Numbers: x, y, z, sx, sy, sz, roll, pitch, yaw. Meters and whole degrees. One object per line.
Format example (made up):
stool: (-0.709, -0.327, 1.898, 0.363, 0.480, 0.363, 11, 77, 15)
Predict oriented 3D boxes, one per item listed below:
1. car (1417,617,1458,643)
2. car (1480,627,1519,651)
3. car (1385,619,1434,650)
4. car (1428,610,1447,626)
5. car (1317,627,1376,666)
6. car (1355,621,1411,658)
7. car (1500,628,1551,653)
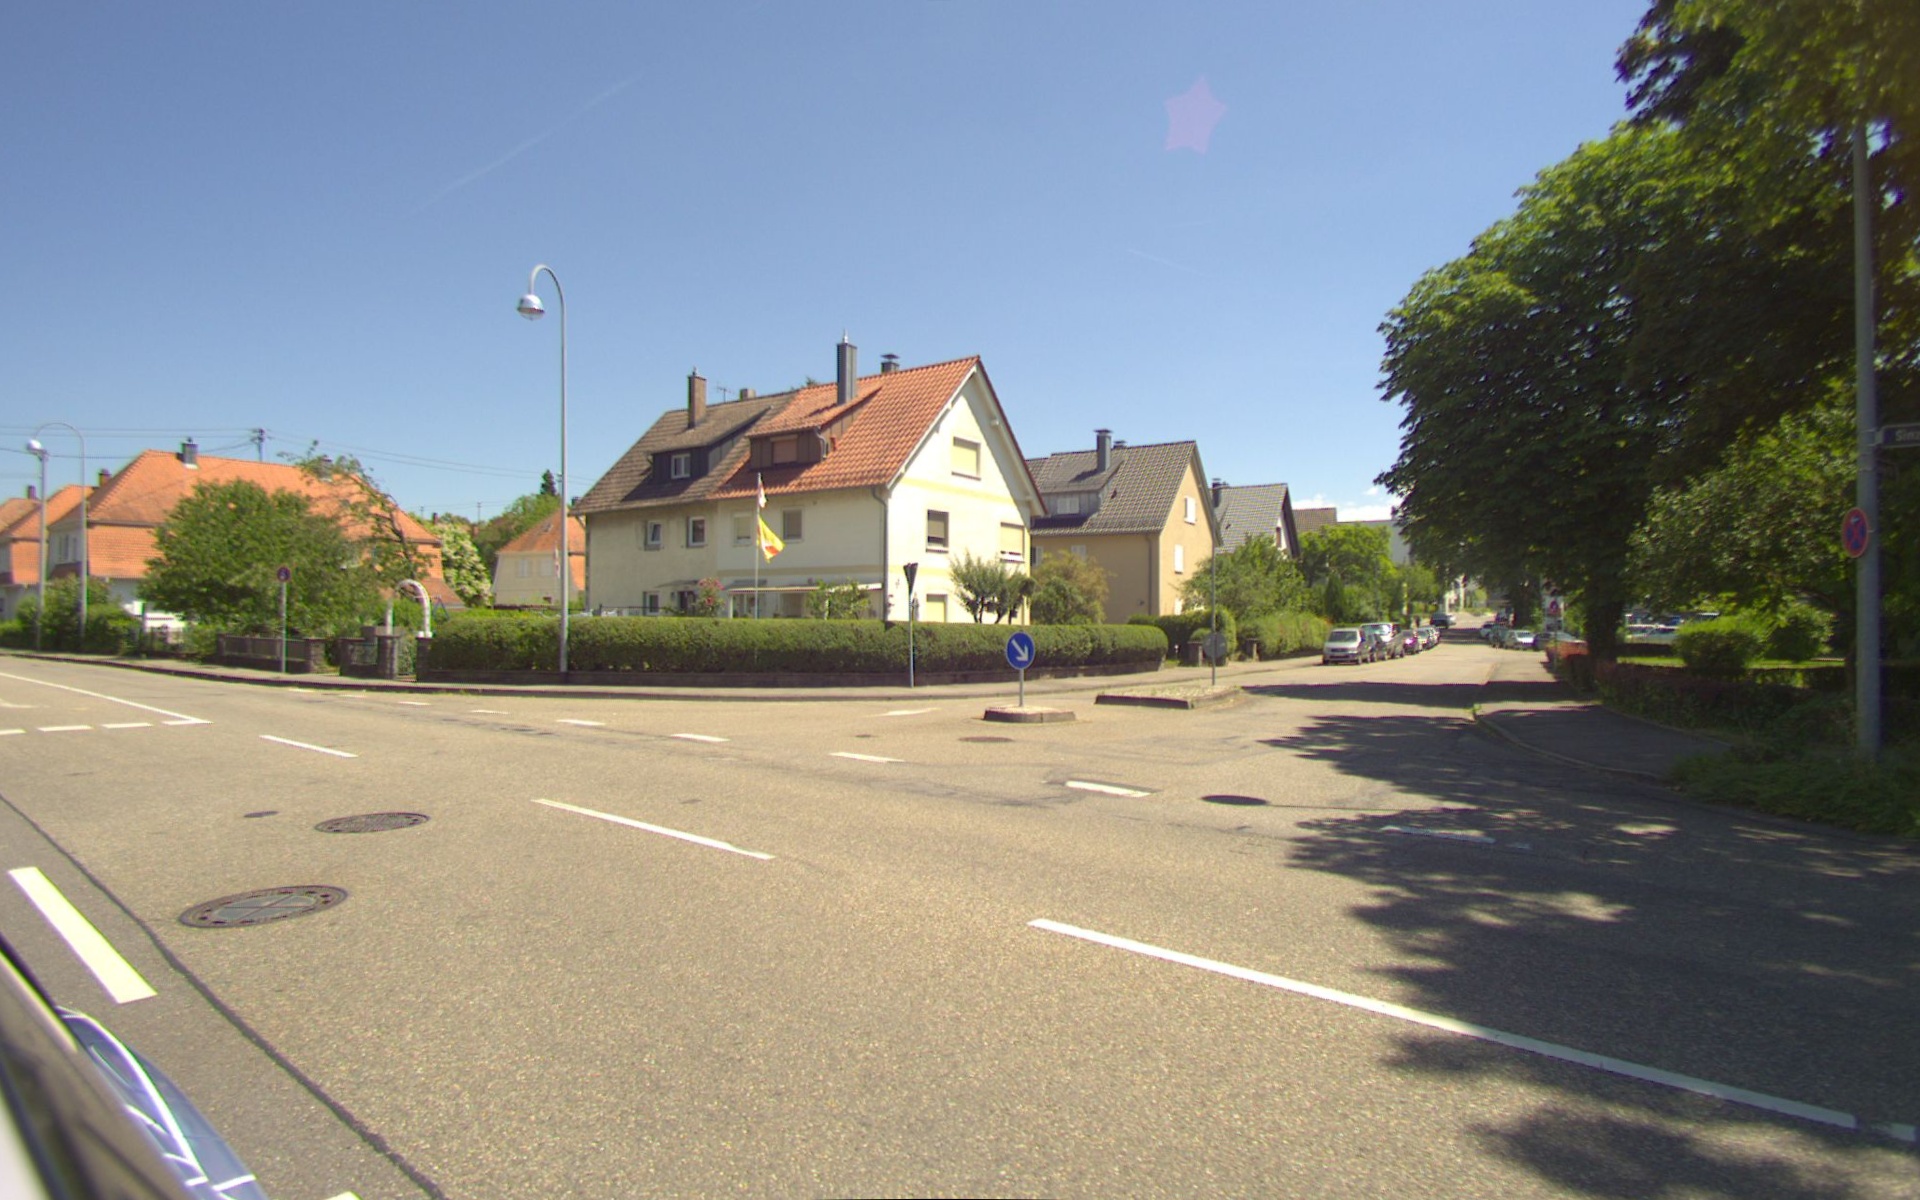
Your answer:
car: (34.173, 2.140, 72.384, 1.996, 1.756, 3.952, -2, -1, 35)
car: (41.719, 2.981, 78.380, 1.902, 1.719, 3.977, -1, -1, 18)
car: (28.031, 2.117, 63.029, 1.996, 1.756, 3.952, -2, -1, 35)
car: (56.088, 2.116, 118.885, 1.989, 1.756, 3.965, -2, -1, 26)
car: (17.605, 2.088, 46.013, 1.826, 1.598, 3.957, -2, -1, 31)
car: (22.961, 2.117, 54.883, 1.996, 1.844, 3.952, -2, -1, 35)
car: (41.166, 2.955, 73.763, 1.987, 1.658, 3.988, -1, -1, 10)
